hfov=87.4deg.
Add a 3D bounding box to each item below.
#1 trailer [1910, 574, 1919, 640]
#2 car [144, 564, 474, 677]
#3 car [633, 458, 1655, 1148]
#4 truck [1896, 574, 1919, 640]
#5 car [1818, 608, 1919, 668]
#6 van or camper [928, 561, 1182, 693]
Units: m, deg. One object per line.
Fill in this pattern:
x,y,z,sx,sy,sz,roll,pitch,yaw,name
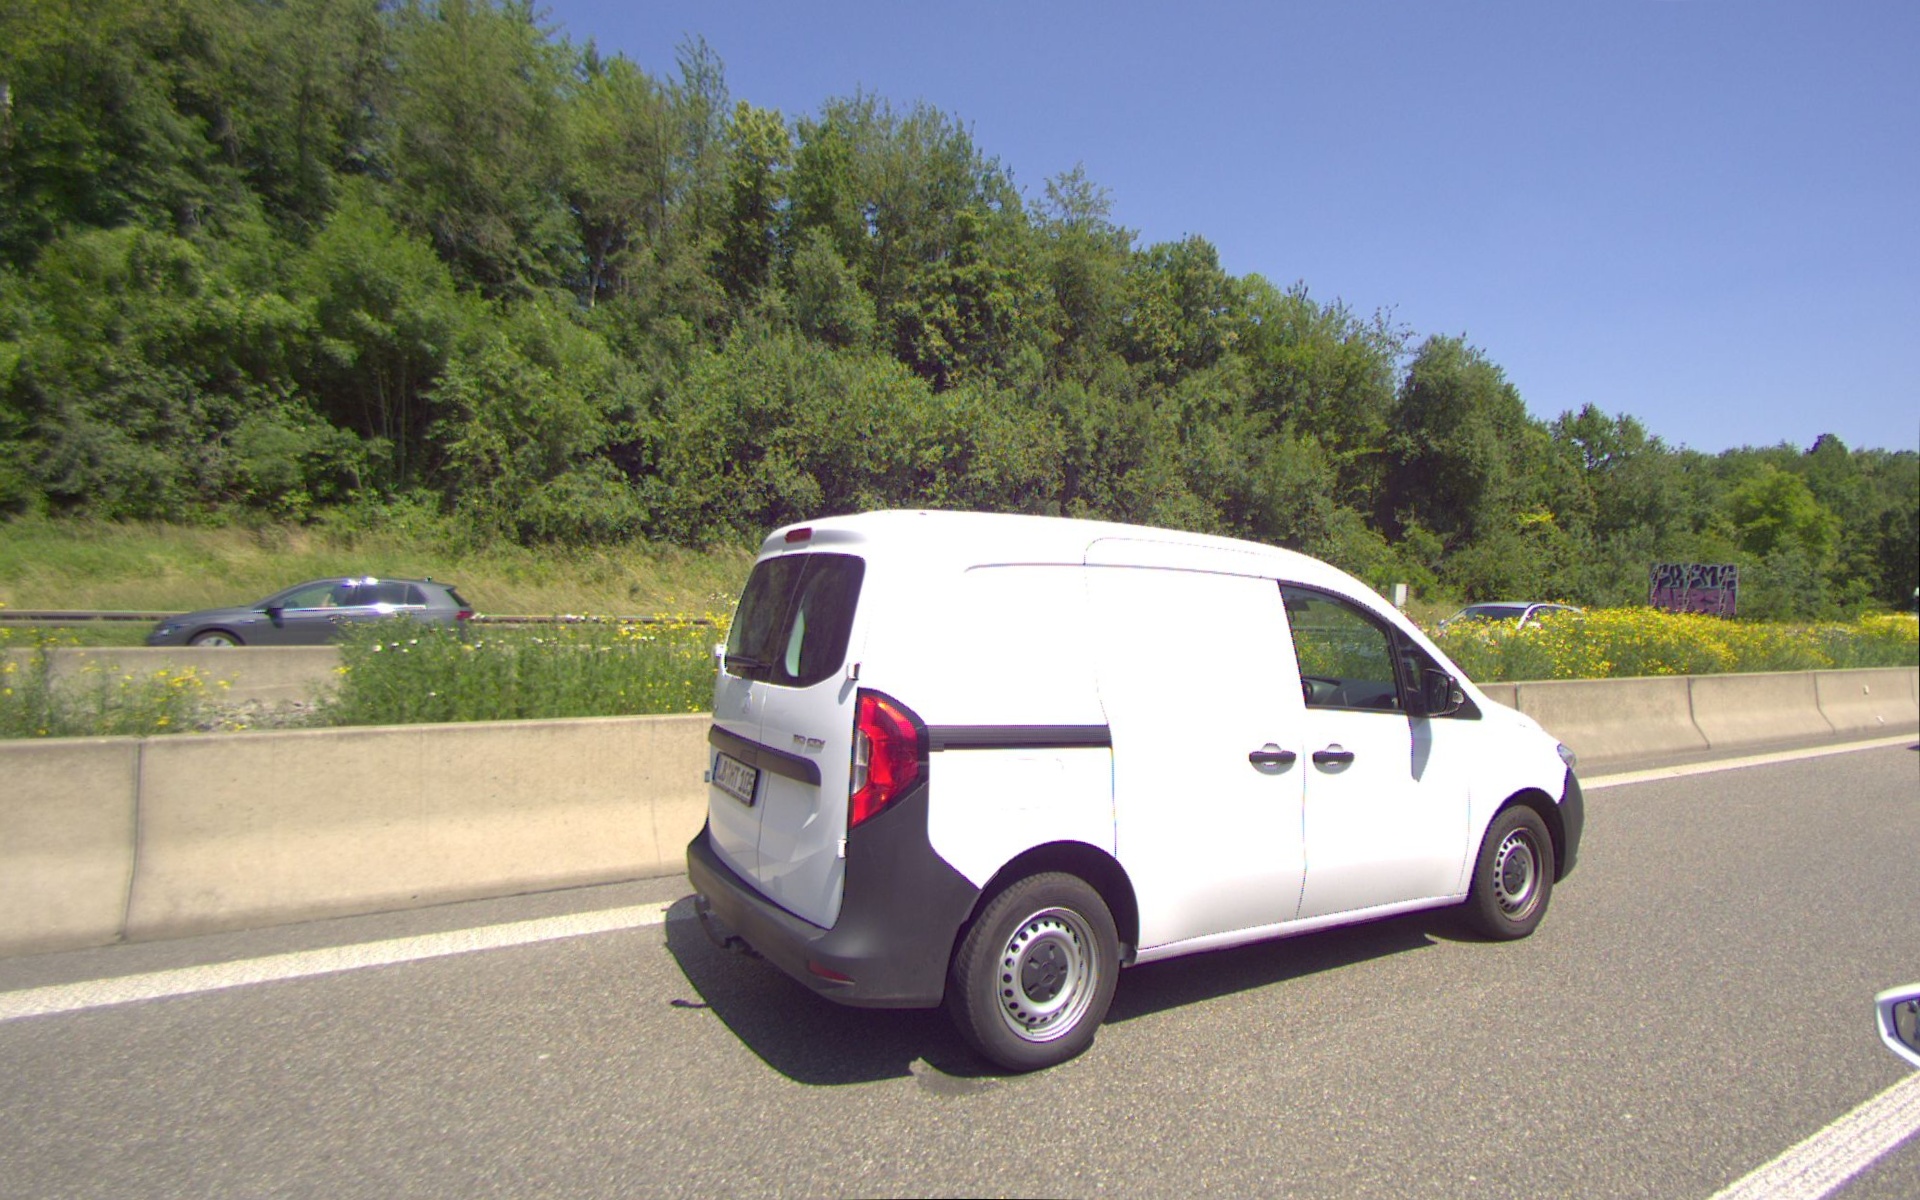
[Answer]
69.060,0.707,68.899,12.930,4.287,2.908,3,-1,-34,trailer
-9.674,0.343,15.277,3.954,1.511,1.767,3,-1,-31,car
1.072,0.592,4.630,4.620,1.837,1.756,2,0,-31,car
63.947,0.569,65.434,6.025,4.161,2.946,3,-1,-34,truck
33.730,1.411,37.208,3.956,2.040,1.868,3,-1,-32,car
1.685,0.460,17.339,4.164,2.039,1.684,2,0,-30,van or camper
